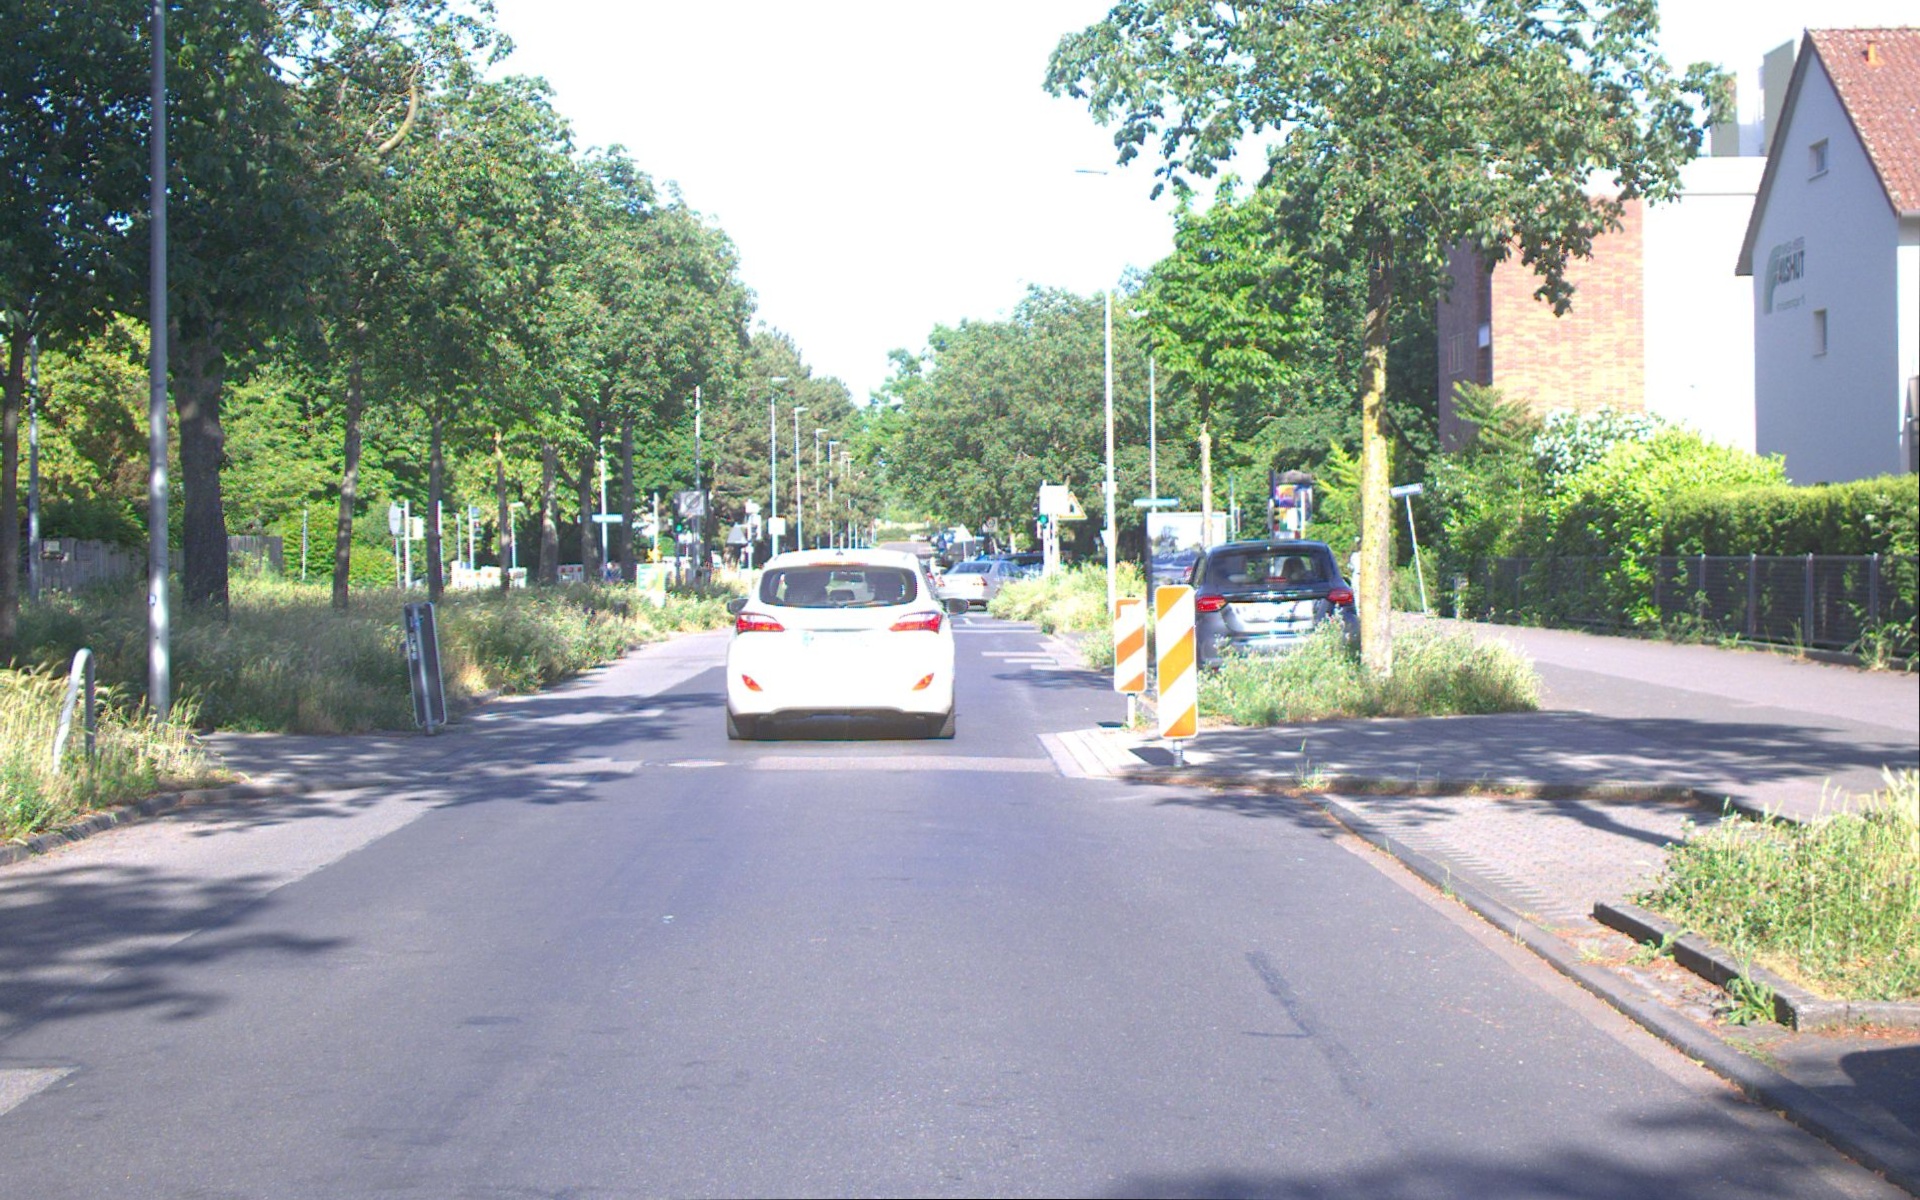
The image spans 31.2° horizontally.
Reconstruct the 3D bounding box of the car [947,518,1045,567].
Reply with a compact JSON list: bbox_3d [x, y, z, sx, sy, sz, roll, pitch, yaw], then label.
[{"bbox_3d":[1.484,-2.381,142.543,3.986,2.007,2.000,0,1,-2],"label":"car"}]

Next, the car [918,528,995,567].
[{"bbox_3d":[-0.187,-2.781,181.976,3.986,2.007,2.000,0,1,-2],"label":"car"}]

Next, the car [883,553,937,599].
[{"bbox_3d":[-1.789,-0.873,121.962,1.816,1.503,3.658,3,1,-1],"label":"car"}]

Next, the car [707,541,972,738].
[{"bbox_3d":[-0.946,0.262,28.005,1.993,1.450,4.225,0,1,-1],"label":"car"}]

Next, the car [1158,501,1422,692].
[{"bbox_3d":[3.209,-0.048,34.236,1.993,1.722,4.000,-2,0,-3],"label":"car"}]

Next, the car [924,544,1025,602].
[{"bbox_3d":[0.421,-0.763,97.026,1.995,1.503,3.656,3,1,14],"label":"car"}]

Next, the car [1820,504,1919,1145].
[{"bbox_3d":[3.261,0.620,7.417,1.610,1.616,4.382,3,1,0],"label":"car"}]

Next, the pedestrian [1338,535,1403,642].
[{"bbox_3d":[7.766,-0.218,65.088,1.112,2.007,0.922,0,1,0],"label":"pedestrian"}]

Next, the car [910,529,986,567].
[{"bbox_3d":[-0.658,-2.805,184.685,3.986,2.007,2.000,0,1,-2],"label":"car"}]

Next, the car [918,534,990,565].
[{"bbox_3d":[-0.328,-2.851,194.844,3.986,1.744,2.000,0,1,-3],"label":"car"}]

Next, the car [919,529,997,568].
[{"bbox_3d":[-0.101,-2.707,179.408,3.986,2.007,2.000,0,1,-2],"label":"car"}]
